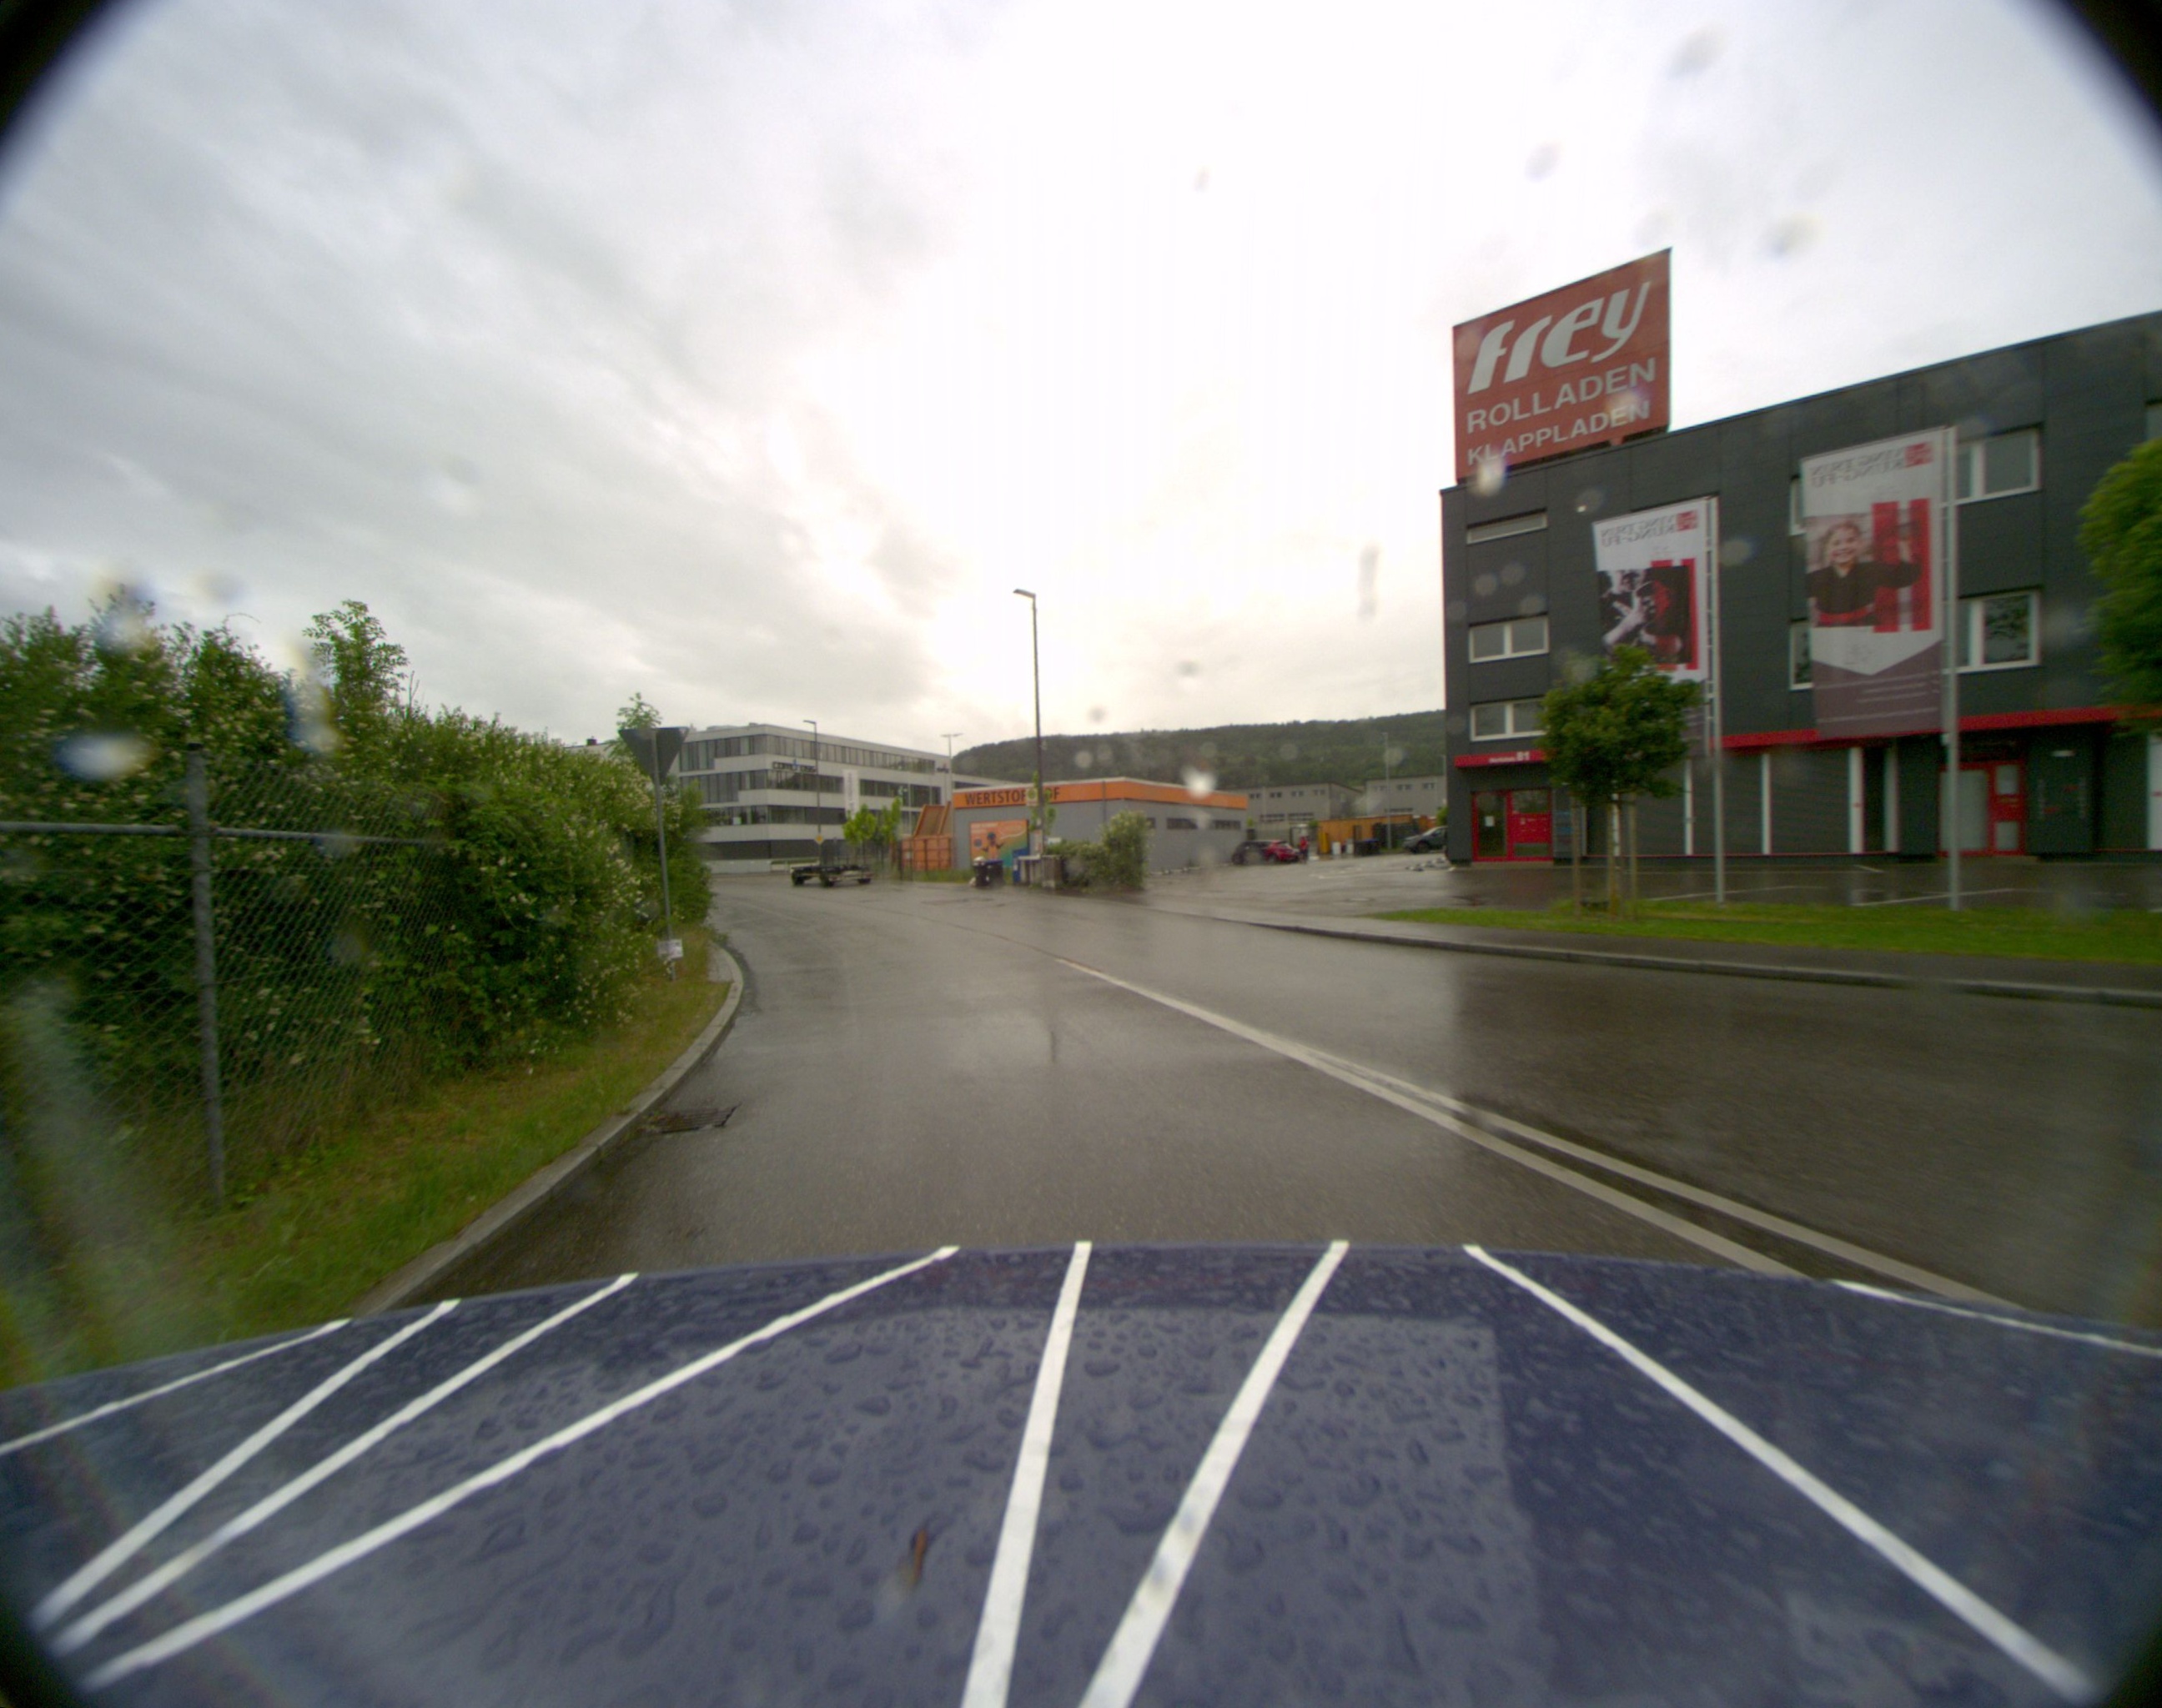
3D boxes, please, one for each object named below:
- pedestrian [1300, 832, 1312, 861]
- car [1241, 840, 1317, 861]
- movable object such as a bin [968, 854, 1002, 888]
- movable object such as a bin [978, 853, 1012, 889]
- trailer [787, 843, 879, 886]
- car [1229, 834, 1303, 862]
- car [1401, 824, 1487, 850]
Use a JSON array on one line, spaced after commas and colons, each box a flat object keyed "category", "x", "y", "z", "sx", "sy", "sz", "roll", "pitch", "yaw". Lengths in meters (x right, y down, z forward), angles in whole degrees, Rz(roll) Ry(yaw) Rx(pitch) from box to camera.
[{"category": "pedestrian", "x": 13.224, "y": -0.433, "z": 44.668, "sx": 0.430, "sy": 1.662, "sz": 0.704, "roll": -1, "pitch": 1, "yaw": 35}, {"category": "car", "x": 12.542, "y": -0.216, "z": 48.268, "sx": 4.185, "sy": 1.154, "sz": 1.936, "roll": -1, "pitch": 1, "yaw": 44}, {"category": "movable object such as a bin", "x": -3.874, "y": 0.663, "z": 30.602, "sx": 0.982, "sy": 1.315, "sz": 1.000, "roll": -2, "pitch": 1, "yaw": -30}, {"category": "movable object such as a bin", "x": -3.365, "y": 0.654, "z": 29.723, "sx": 0.982, "sy": 1.315, "sz": 1.000, "roll": -2, "pitch": 1, "yaw": -30}, {"category": "trailer", "x": -13.398, "y": 0.537, "z": 40.751, "sx": 2.581, "sy": 2.002, "sz": 6.619, "roll": -4, "pitch": 2, "yaw": -37}, {"category": "car", "x": 11.150, "y": -0.337, "z": 46.042, "sx": 1.927, "sy": 1.566, "sz": 3.989, "roll": -3, "pitch": 1, "yaw": -39}, {"category": "car", "x": 21.408, "y": -0.986, "z": 44.952, "sx": 4.189, "sy": 1.379, "sz": 2.001, "roll": -2, "pitch": 1, "yaw": 12}]
